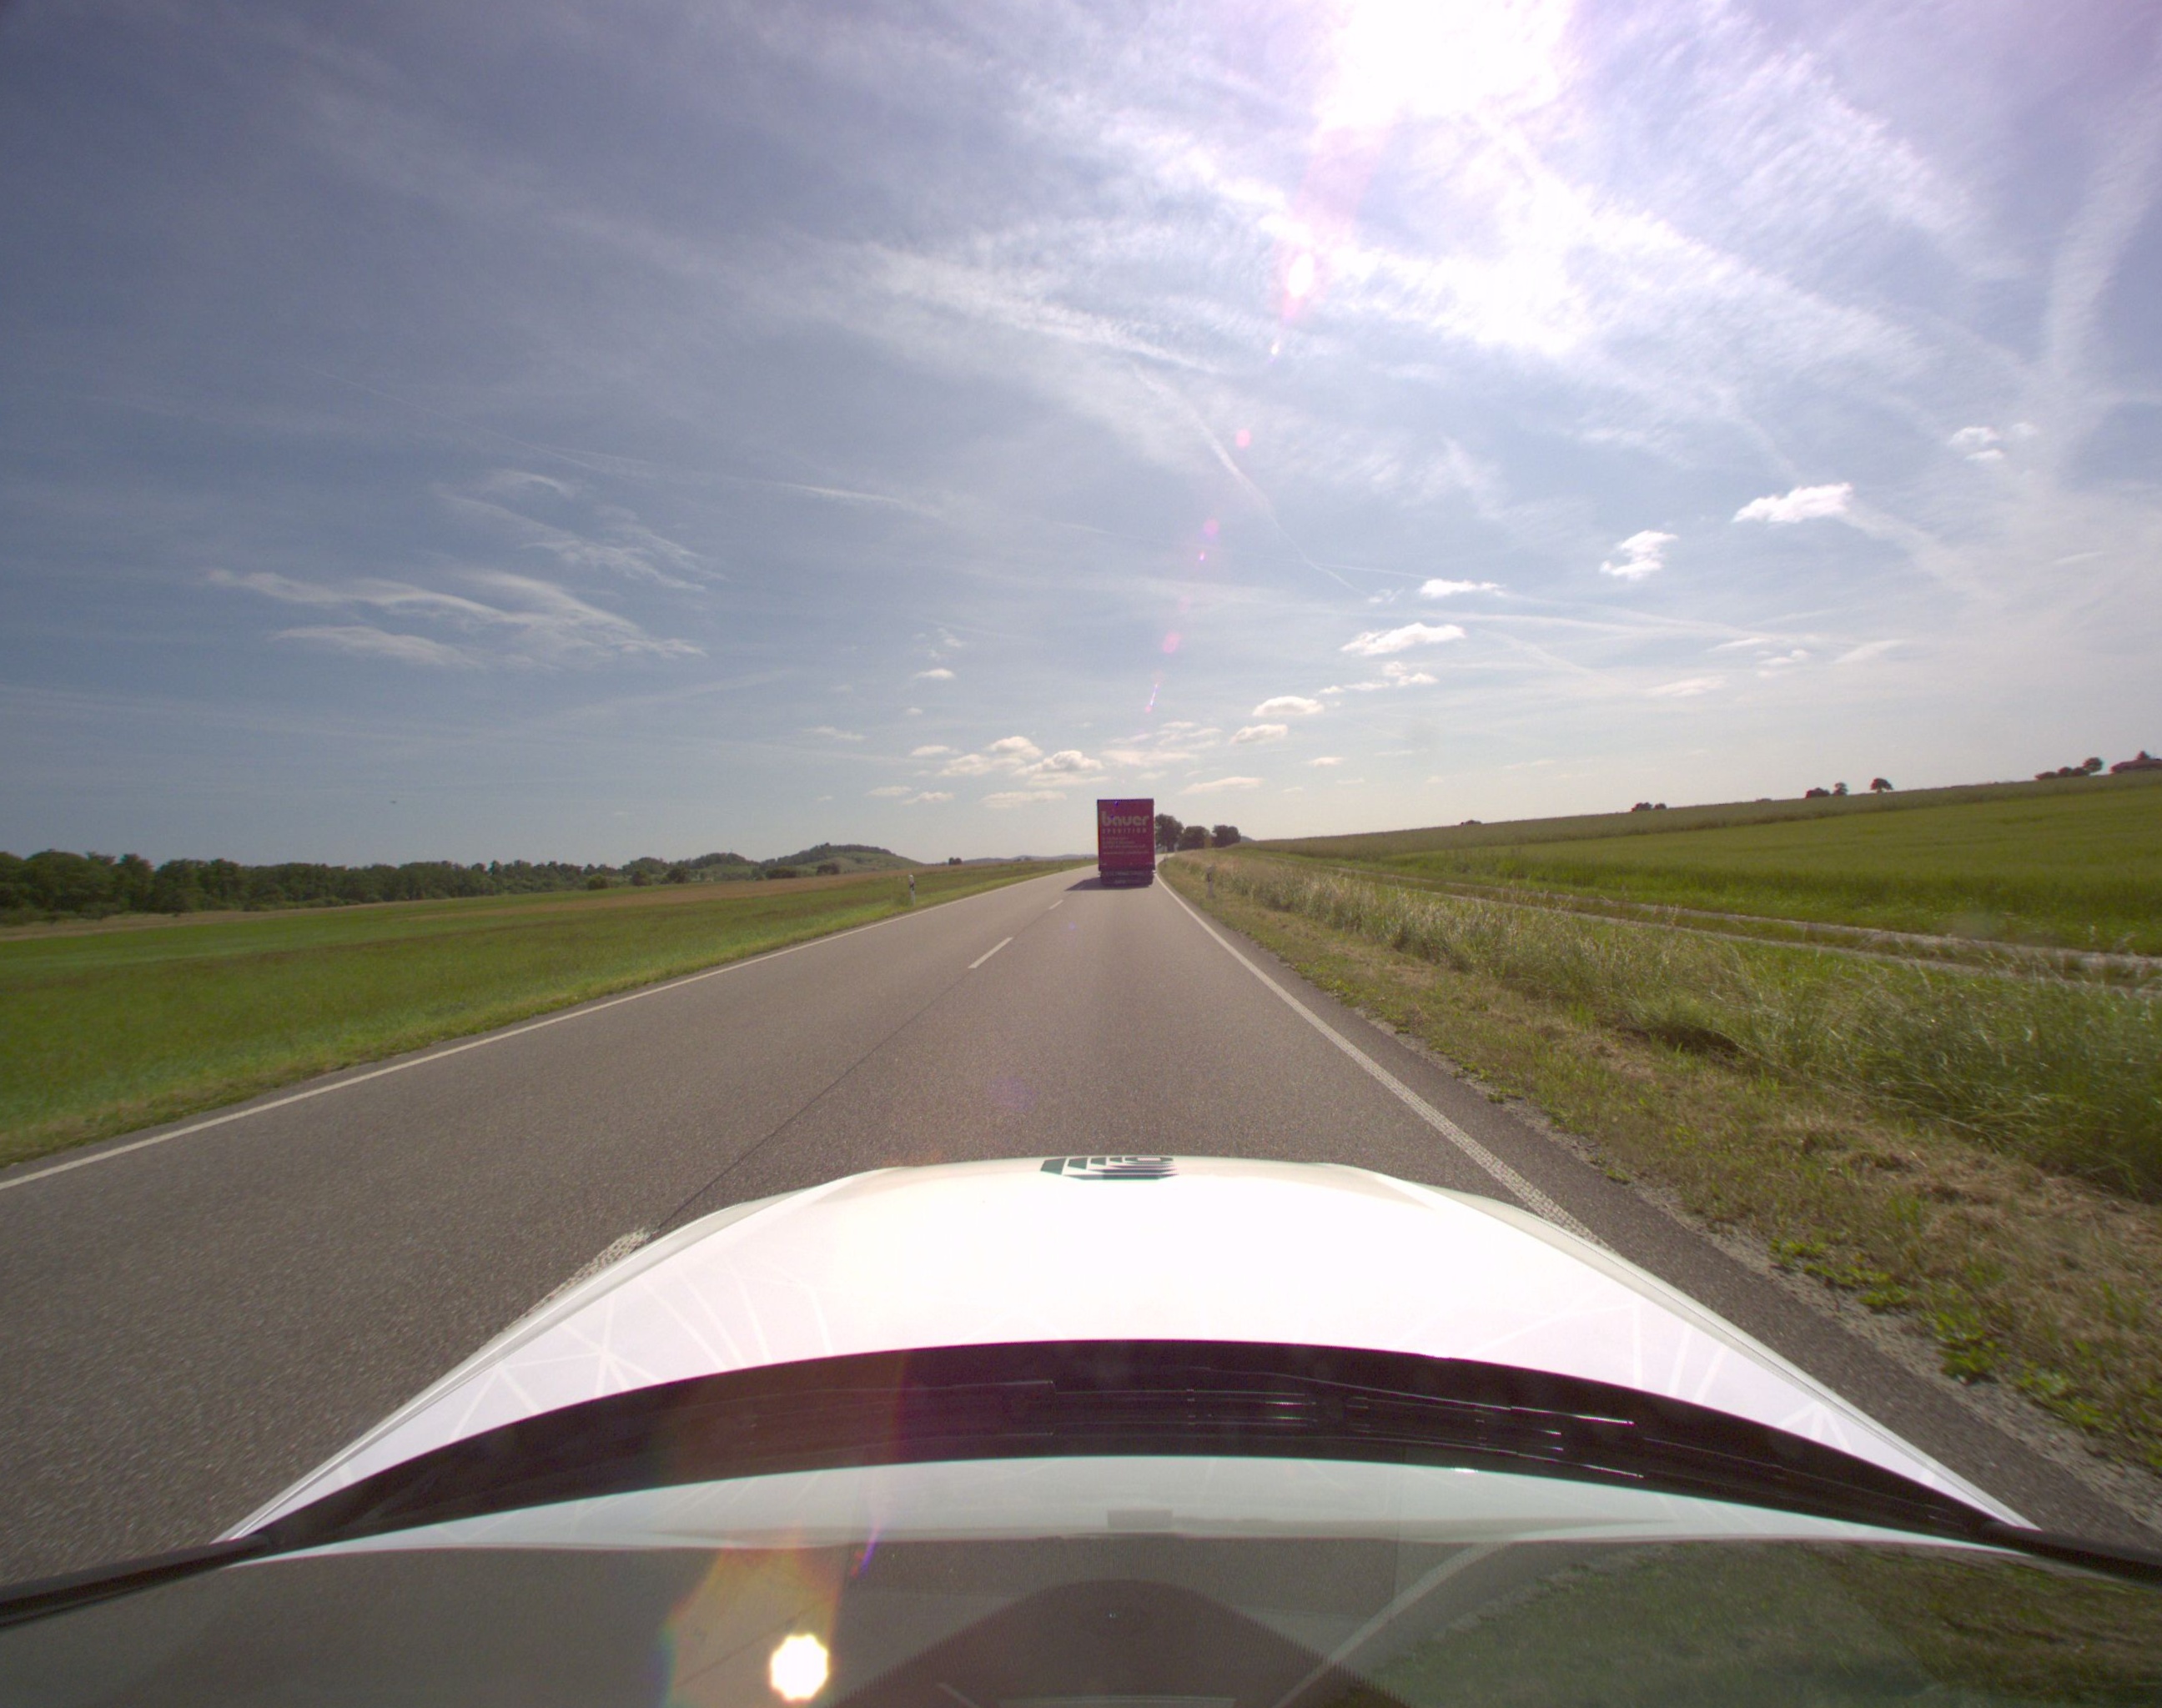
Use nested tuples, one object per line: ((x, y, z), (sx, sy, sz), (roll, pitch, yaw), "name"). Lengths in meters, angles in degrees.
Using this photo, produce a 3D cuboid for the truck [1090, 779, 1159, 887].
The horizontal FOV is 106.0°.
((2.287, -0.924, 40.538), (2.961, 4.713, 9.377), (-1, 0, 4), "truck")
